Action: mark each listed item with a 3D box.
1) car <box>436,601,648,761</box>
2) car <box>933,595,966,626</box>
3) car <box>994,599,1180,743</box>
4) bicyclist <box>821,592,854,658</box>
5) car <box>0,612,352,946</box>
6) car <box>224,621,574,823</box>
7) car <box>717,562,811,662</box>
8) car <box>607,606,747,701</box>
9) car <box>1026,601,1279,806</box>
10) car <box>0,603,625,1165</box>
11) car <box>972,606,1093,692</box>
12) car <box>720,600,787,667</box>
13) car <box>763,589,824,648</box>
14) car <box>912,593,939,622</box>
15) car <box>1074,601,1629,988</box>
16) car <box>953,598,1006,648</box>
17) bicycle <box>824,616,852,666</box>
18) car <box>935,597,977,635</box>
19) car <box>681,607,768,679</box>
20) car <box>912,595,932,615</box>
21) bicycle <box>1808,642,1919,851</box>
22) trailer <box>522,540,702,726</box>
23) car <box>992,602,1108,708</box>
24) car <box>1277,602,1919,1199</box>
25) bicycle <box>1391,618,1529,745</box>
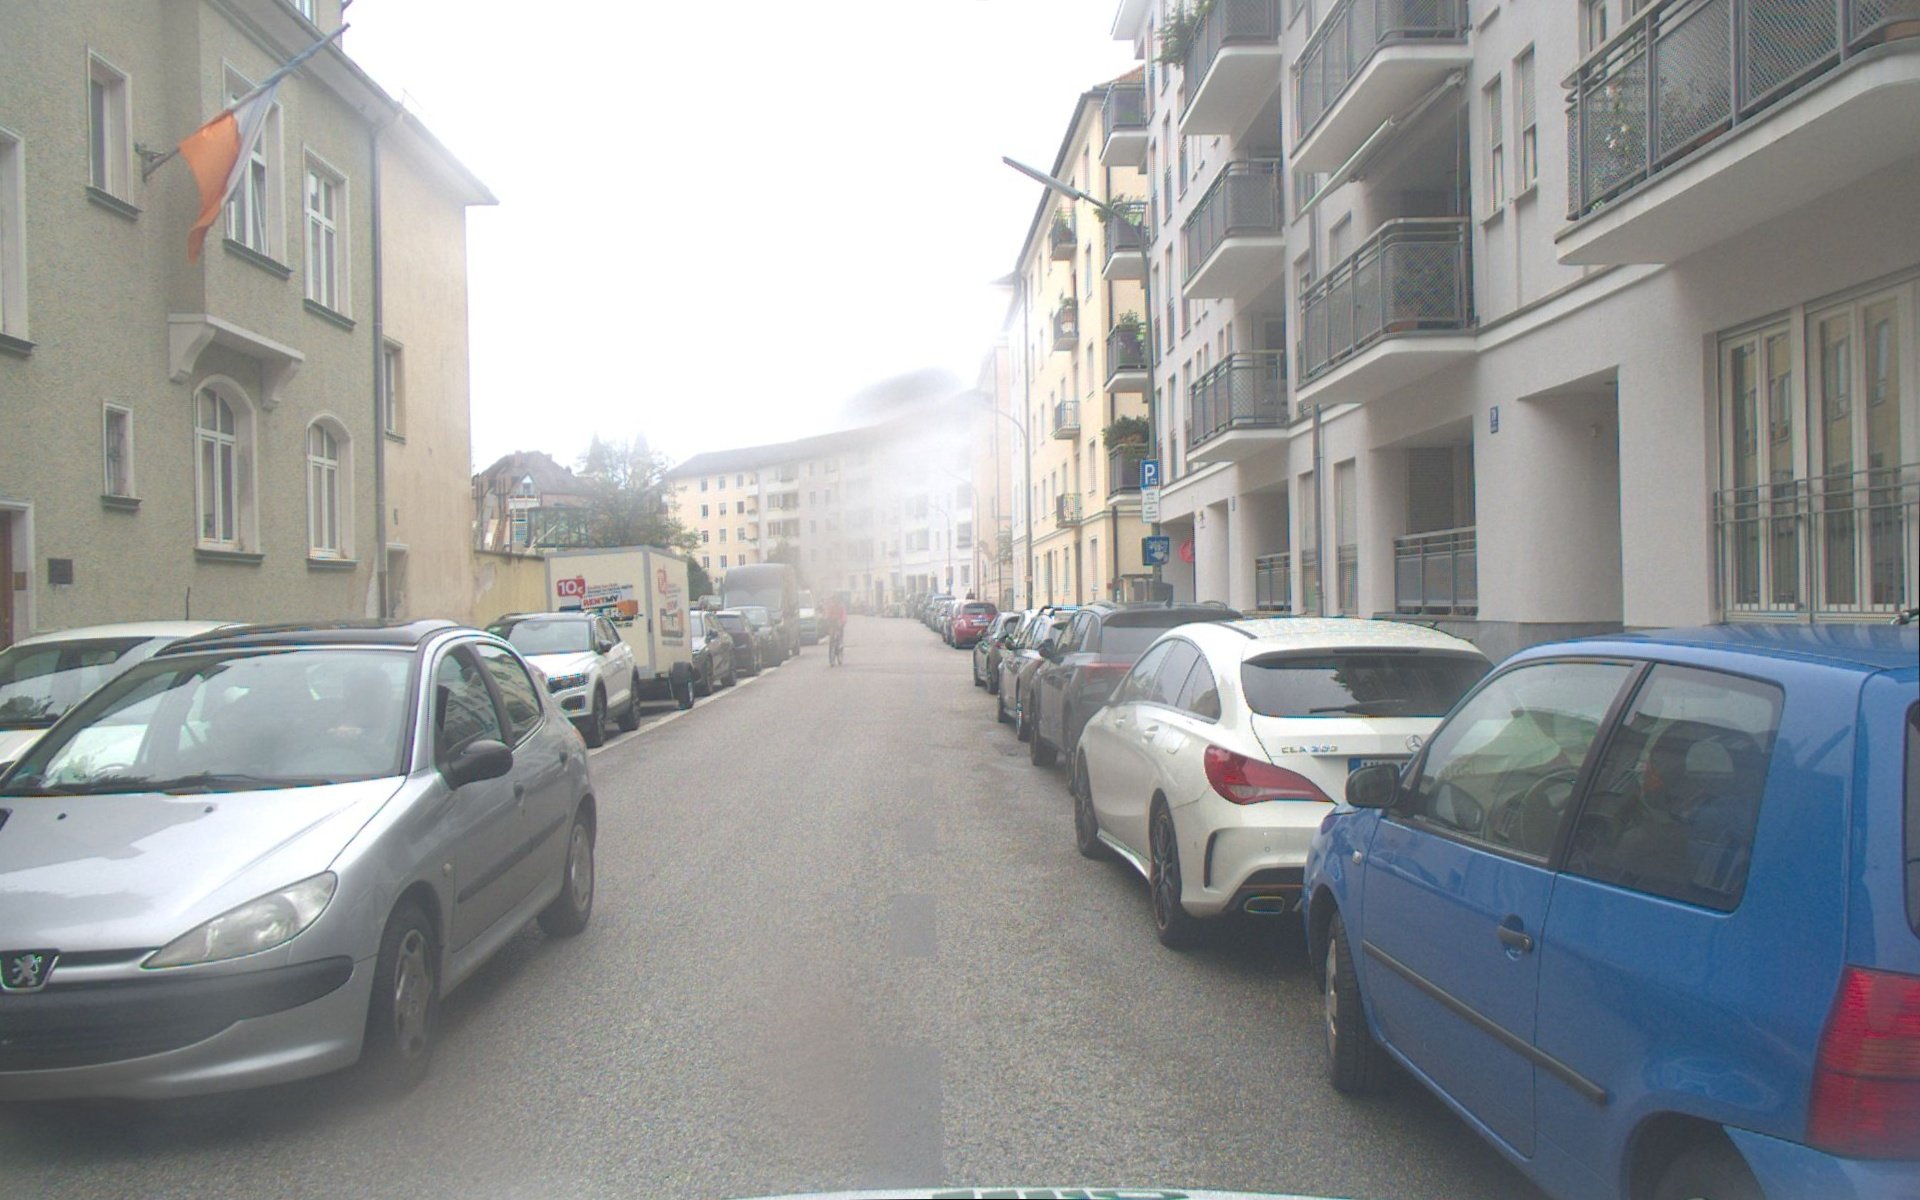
[{"bbox_3d":[-4.909,0.875,19.926,1.653,1.631,3.919,-3,0,-3],"label":"car"},{"bbox_3d":[-0.568,0.529,89.365,1.559,1.610,4.296,0,0,-3],"label":"car"},{"bbox_3d":[1.458,0.791,20.658,1.699,1.557,4.618,1,0,-3],"label":"car"},{"bbox_3d":[-2.986,0.602,40.437,0.680,1.589,0.967,-2,0,1],"label":"bicyclist"},{"bbox_3d":[-4.692,0.858,9.268,1.444,1.492,3.311,-3,0,-3],"label":"car"},{"bbox_3d":[-4.816,0.965,14.897,1.824,1.437,4.330,-3,-1,-3],"label":"car"},{"bbox_3d":[-5.591,0.289,47.837,2.045,2.682,5.376,-1,1,0],"label":"car"},{"bbox_3d":[-5.246,0.938,31.199,1.730,1.565,4.541,-3,0,1],"label":"car"},{"bbox_3d":[1.571,0.803,14.773,1.572,1.557,3.981,1,0,-3],"label":"car"},{"bbox_3d":[-2.374,0.764,6.123,1.549,1.436,3.611,-2,-1,-1],"label":"car"},{"bbox_3d":[1.254,0.849,30.271,1.728,1.432,4.074,-1,0,-5],"label":"car"},{"bbox_3d":[-5.281,0.831,42.594,1.555,1.565,3.539,-2,1,-6],"label":"car"},{"bbox_3d":[-6.042,0.637,60.317,1.845,1.965,4.599,-3,1,-2],"label":"car"},{"bbox_3d":[-2.075,0.443,99.338,1.444,1.669,3.998,0,0,-3],"label":"car"},{"bbox_3d":[1.660,0.755,8.469,1.625,1.465,4.204,1,0,-3],"label":"car"},{"bbox_3d":[0.611,0.734,54.089,1.563,1.535,3.799,-1,0,-2],"label":"car"},{"bbox_3d":[-2.979,0.992,40.446,0.494,1.148,1.773,-2,0,1],"label":"bicycle"},{"bbox_3d":[-0.196,0.643,69.985,1.567,1.517,3.796,-1,1,-3],"label":"car"},{"bbox_3d":[-5.301,0.935,37.592,1.667,1.471,3.821,0,1,-4],"label":"car"},{"bbox_3d":[-2.568,0.328,110.989,1.247,1.321,2.795,-1,0,-4],"label":"car"},{"bbox_3d":[5.187,0.743,8.447,0.664,1.046,1.833,-1,-2,-3],"label":"bicycle"},{"bbox_3d":[-5.188,0.447,25.216,1.674,2.504,4.386,-3,0,0],"label":"trailer"},{"bbox_3d":[1.367,0.815,26.170,1.489,1.557,3.524,0,0,-3],"label":"car"},{"bbox_3d":[2.033,0.750,4.126,1.587,1.437,3.551,1,-1,-4],"label":"car"},{"bbox_3d":[5.058,0.790,16.880,0.615,1.180,2.126,-1,0,-4],"label":"bicycle"}]
